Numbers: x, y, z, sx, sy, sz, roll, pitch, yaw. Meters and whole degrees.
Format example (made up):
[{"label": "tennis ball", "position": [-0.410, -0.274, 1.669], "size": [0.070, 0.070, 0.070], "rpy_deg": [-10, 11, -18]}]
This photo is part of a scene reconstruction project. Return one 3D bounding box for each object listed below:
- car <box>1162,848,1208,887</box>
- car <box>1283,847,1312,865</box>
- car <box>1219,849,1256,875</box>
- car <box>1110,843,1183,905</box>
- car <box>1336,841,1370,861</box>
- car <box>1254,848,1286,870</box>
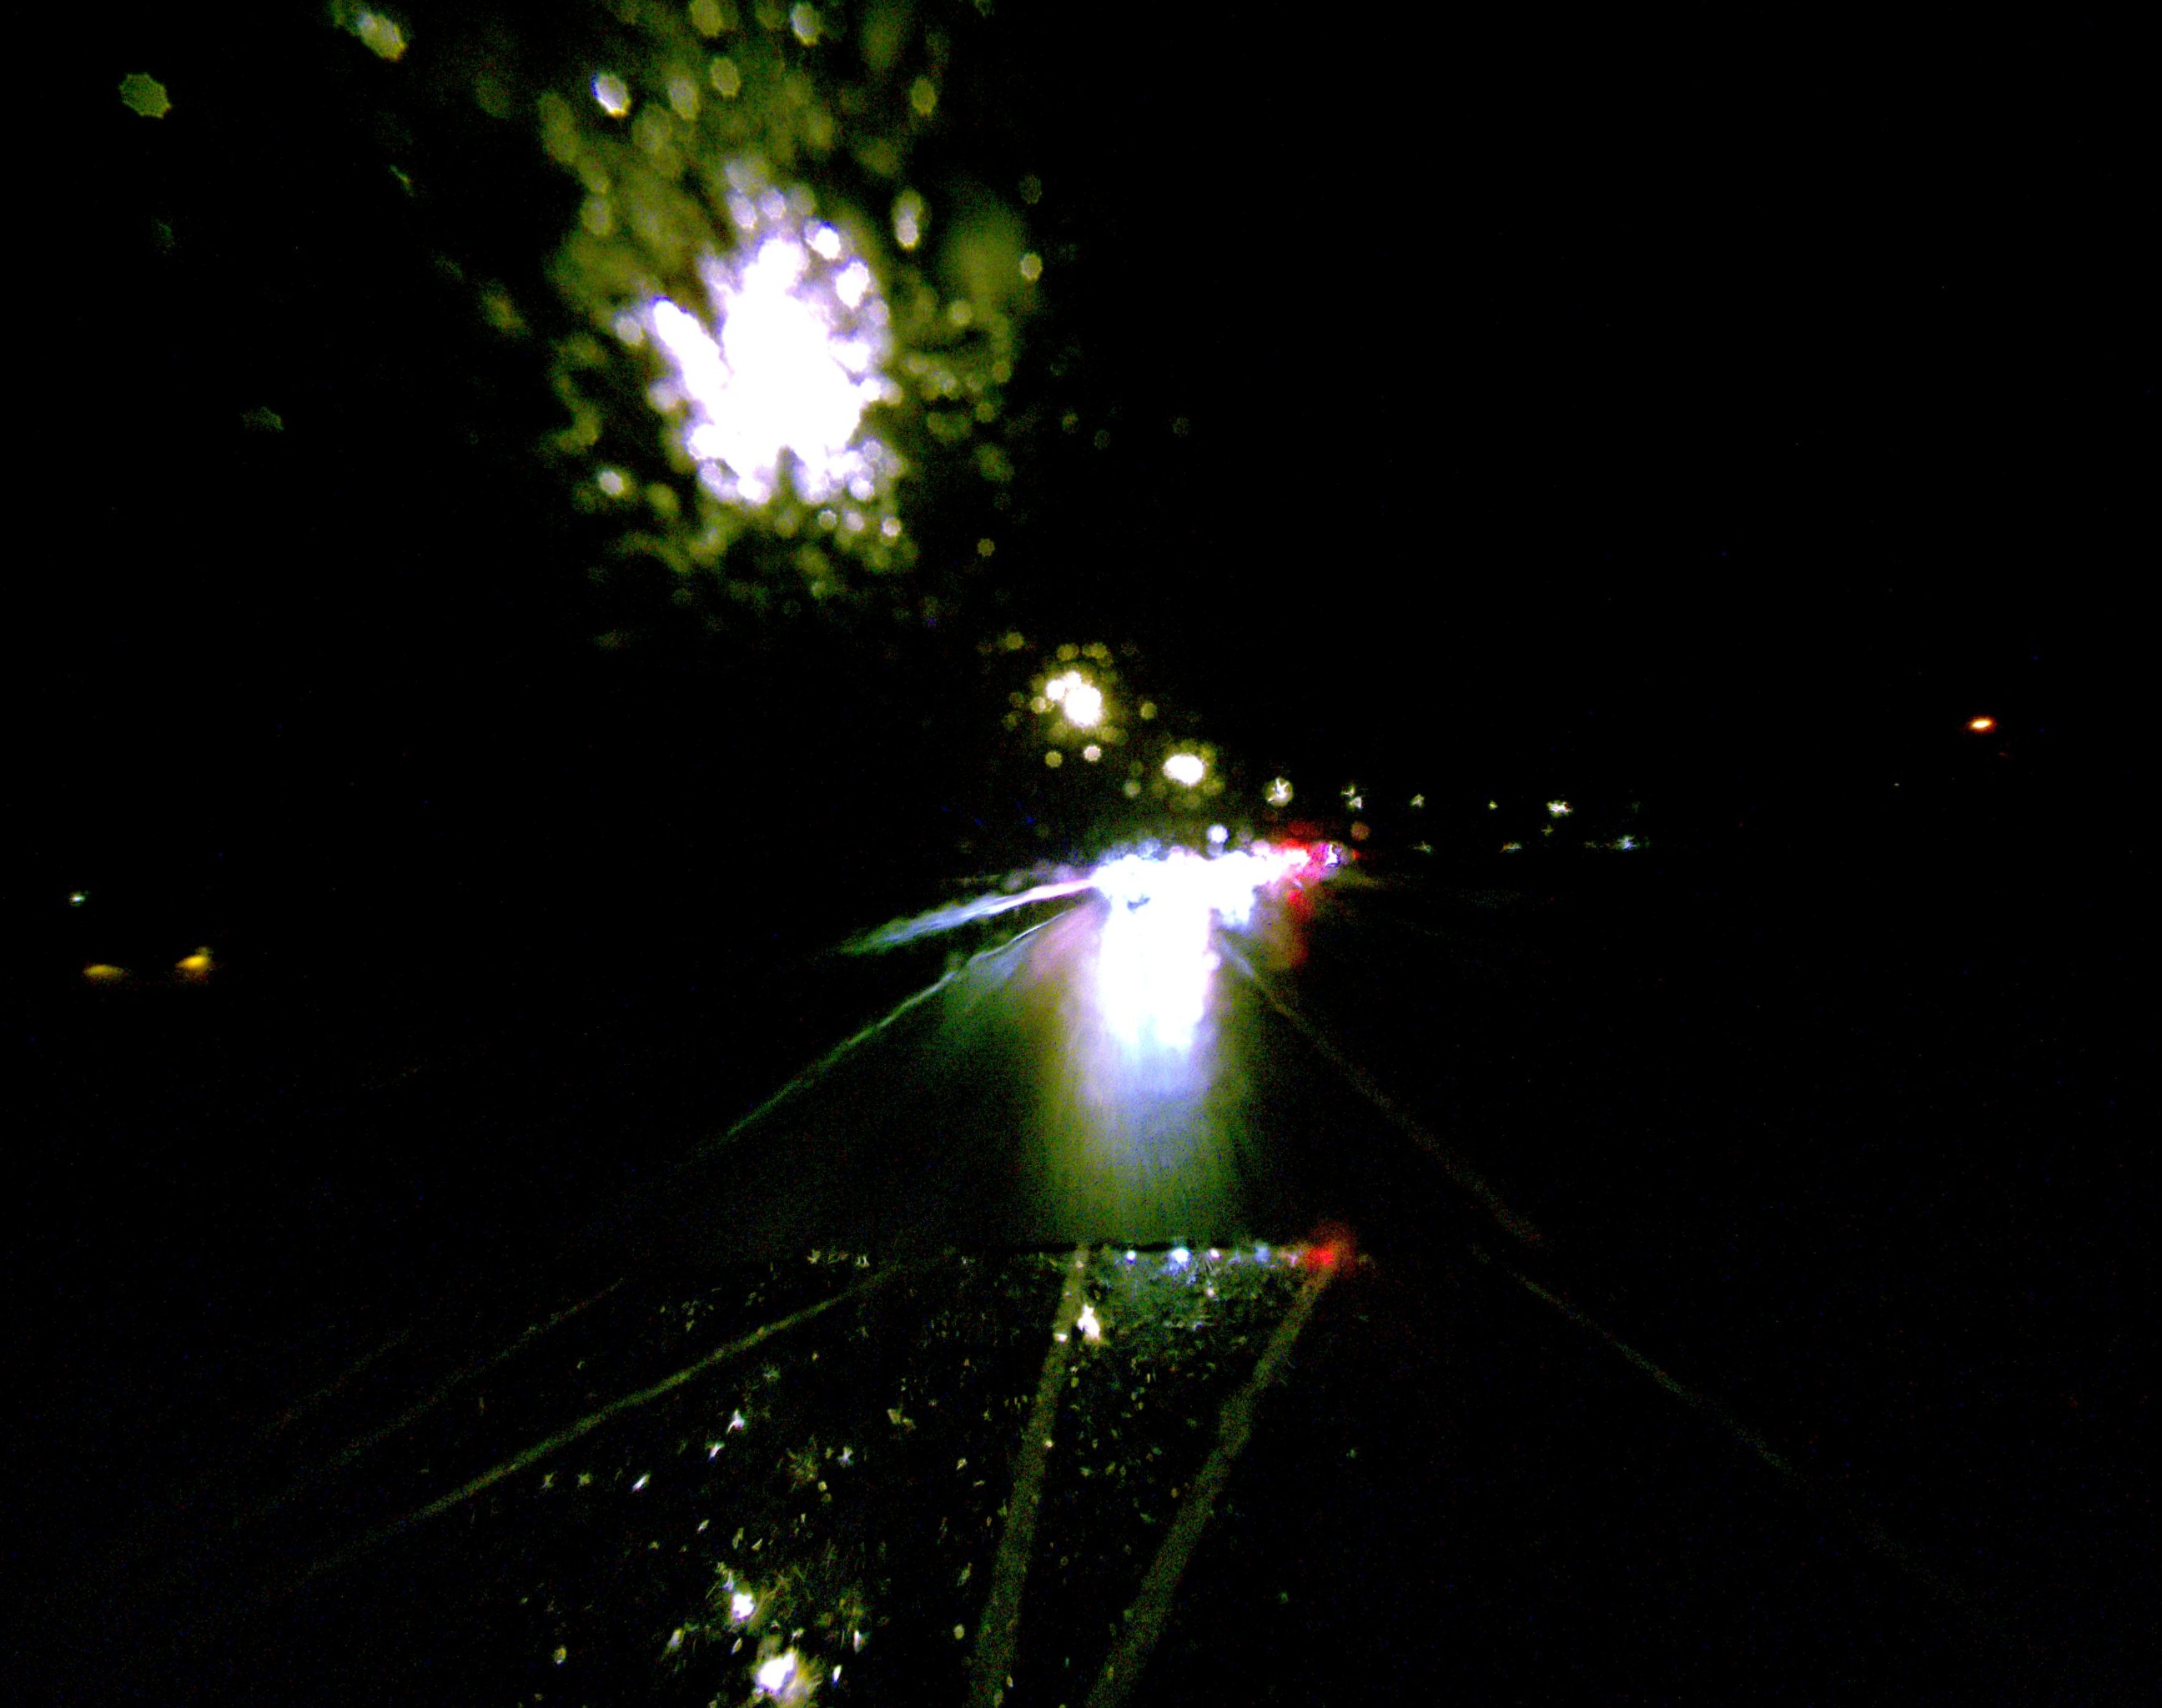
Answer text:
[{"label": "car", "position": [5.603, 0.713, 40.585], "size": [1.996, 1.922, 4.004], "rpy_deg": [-2, 0, 14]}, {"label": "car", "position": [18.819, 0.167, 65.887], "size": [1.995, 1.475, 4.006], "rpy_deg": [-2, 0, 22]}, {"label": "car", "position": [12.240, 0.615, 59.199], "size": [1.995, 1.923, 4.006], "rpy_deg": [-2, 0, 23]}, {"label": "car", "position": [2.278, 0.636, 25.377], "size": [1.935, 1.861, 4.004], "rpy_deg": [-2, 0, 11]}, {"label": "car", "position": [29.927, -0.364, 83.523], "size": [2.375, 2.079, 4.426], "rpy_deg": [-2, 0, 34]}, {"label": "car", "position": [17.737, 0.440, 71.133], "size": [1.995, 1.923, 4.007], "rpy_deg": [-2, 0, 26]}]
